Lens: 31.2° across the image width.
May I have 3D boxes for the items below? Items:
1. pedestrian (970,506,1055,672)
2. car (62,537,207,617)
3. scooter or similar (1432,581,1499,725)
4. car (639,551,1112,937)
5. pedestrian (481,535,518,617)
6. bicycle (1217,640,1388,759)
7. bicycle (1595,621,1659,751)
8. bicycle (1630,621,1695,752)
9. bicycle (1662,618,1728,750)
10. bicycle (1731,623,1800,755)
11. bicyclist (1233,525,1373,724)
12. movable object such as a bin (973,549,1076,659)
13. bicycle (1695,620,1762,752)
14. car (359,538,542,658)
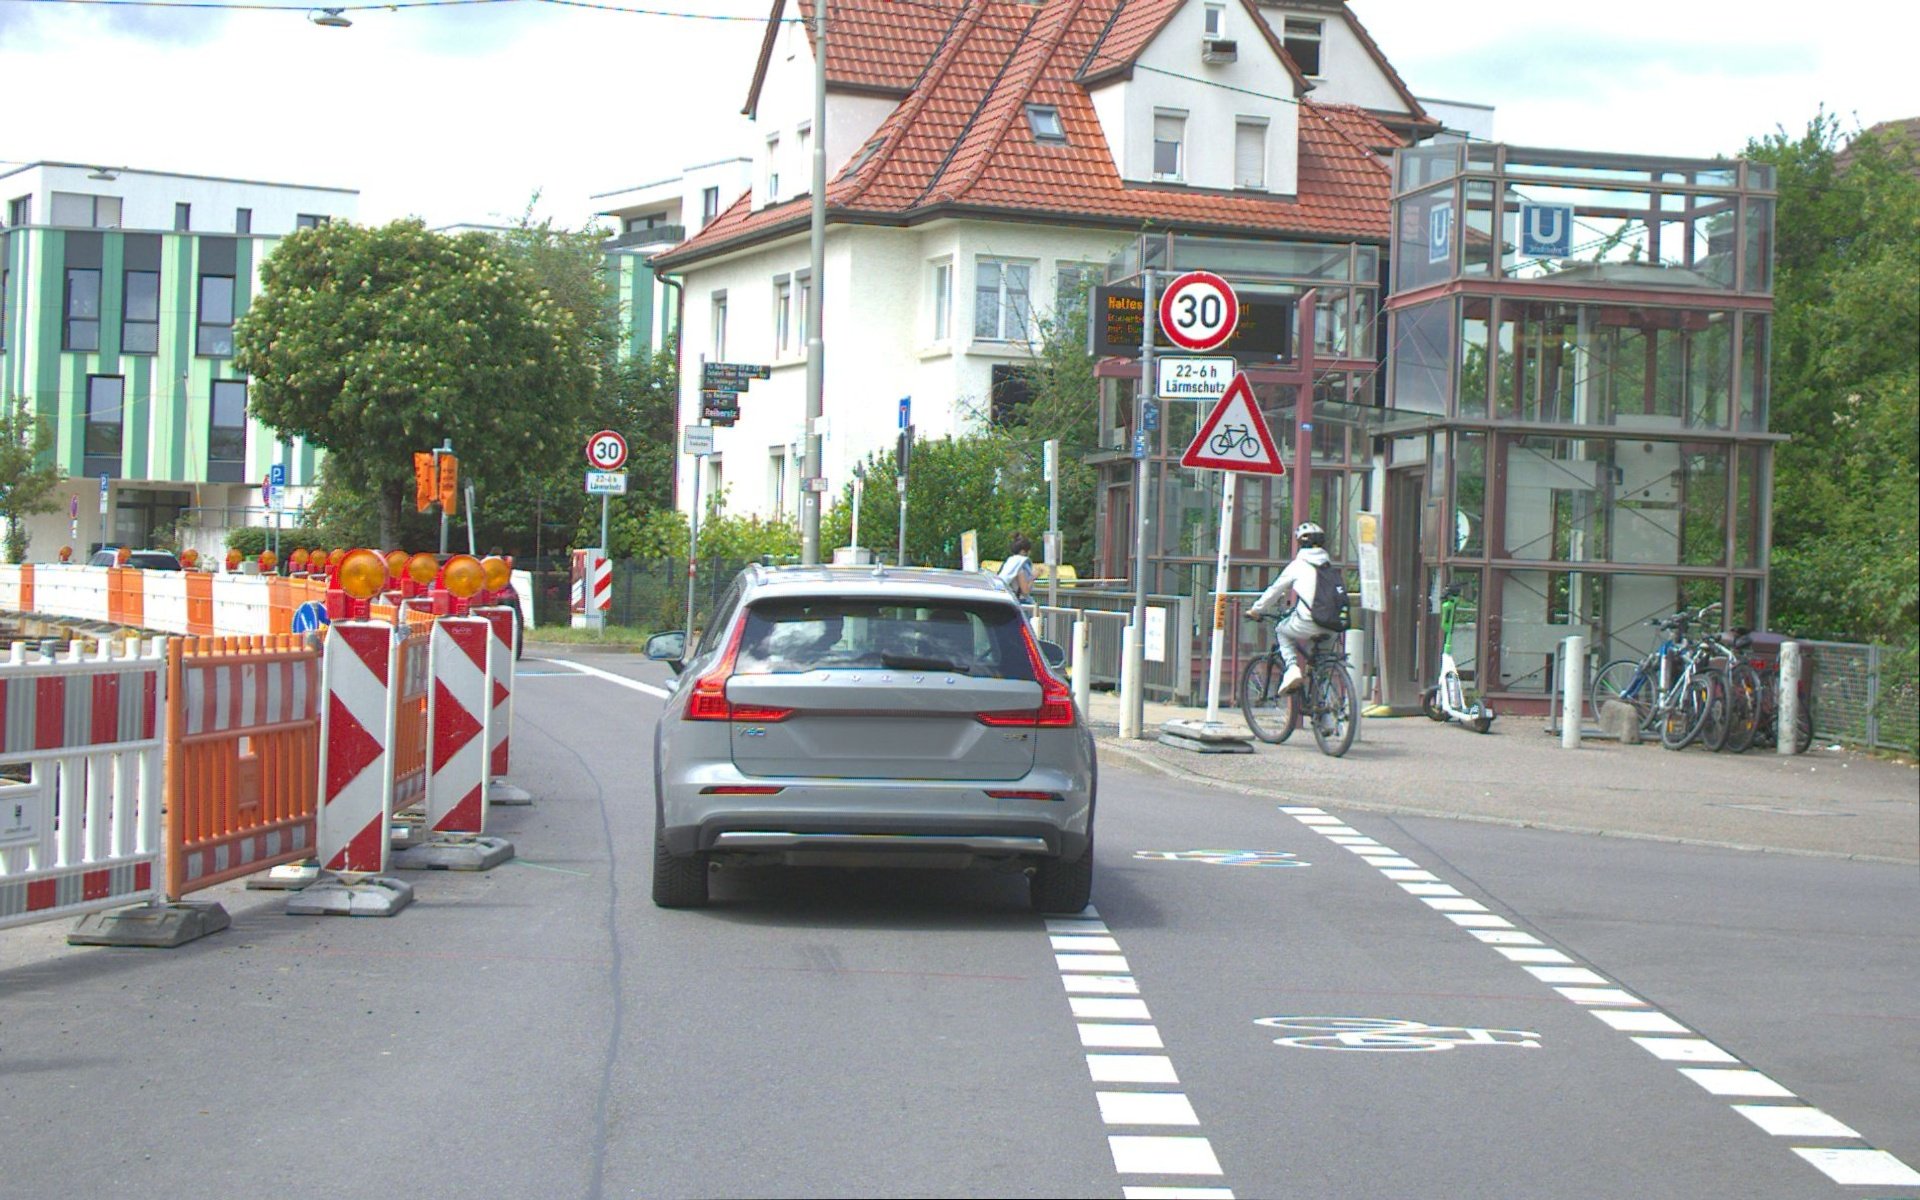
[{"bbox_3d":[0.520,-0.106,34.209,0.597,1.577,0.401,7,-3,-12],"label":"pedestrian"},{"bbox_3d":[-17.131,-0.490,71.237,1.844,1.508,4.000,3,0,-29],"label":"car"},{"bbox_3d":[4.158,0.431,28.331,0.215,1.108,0.947,1,4,-11],"label":"scooter or similar"},{"bbox_3d":[-0.498,0.547,15.590,1.854,1.508,4.001,1,1,-5],"label":"car"},{"bbox_3d":[-8.673,-0.459,64.736,0.634,1.534,0.522,1,1,-3],"label":"pedestrian"},{"bbox_3d":[2.506,0.721,25.370,0.635,0.751,2.063,2,1,-12],"label":"bicycle"},{"bbox_3d":[5.313,0.676,27.402,0.215,0.985,1.204,1,1,-2],"label":"bicycle"},{"bbox_3d":[5.595,0.677,27.406,0.215,0.997,1.207,1,1,-2],"label":"bicycle"},{"bbox_3d":[5.859,0.659,27.440,0.215,1.010,1.169,1,1,-2],"label":"bicycle"},{"bbox_3d":[6.423,0.702,27.437,0.215,1.005,1.189,1,1,-2],"label":"bicycle"},{"bbox_3d":[2.523,0.167,25.387,0.656,1.411,1.179,2,1,-12],"label":"bicyclist"},{"bbox_3d":[0.891,0.055,47.764,1.268,1.465,1.005,2,0,-5],"label":"movable object such as a bin"},{"bbox_3d":[6.126,0.675,27.433,0.215,1.005,1.189,1,1,-2],"label":"bicycle"},{"bbox_3d":[-7.030,-0.046,47.130,1.854,1.508,4.001,3,0,-17],"label":"car"}]
